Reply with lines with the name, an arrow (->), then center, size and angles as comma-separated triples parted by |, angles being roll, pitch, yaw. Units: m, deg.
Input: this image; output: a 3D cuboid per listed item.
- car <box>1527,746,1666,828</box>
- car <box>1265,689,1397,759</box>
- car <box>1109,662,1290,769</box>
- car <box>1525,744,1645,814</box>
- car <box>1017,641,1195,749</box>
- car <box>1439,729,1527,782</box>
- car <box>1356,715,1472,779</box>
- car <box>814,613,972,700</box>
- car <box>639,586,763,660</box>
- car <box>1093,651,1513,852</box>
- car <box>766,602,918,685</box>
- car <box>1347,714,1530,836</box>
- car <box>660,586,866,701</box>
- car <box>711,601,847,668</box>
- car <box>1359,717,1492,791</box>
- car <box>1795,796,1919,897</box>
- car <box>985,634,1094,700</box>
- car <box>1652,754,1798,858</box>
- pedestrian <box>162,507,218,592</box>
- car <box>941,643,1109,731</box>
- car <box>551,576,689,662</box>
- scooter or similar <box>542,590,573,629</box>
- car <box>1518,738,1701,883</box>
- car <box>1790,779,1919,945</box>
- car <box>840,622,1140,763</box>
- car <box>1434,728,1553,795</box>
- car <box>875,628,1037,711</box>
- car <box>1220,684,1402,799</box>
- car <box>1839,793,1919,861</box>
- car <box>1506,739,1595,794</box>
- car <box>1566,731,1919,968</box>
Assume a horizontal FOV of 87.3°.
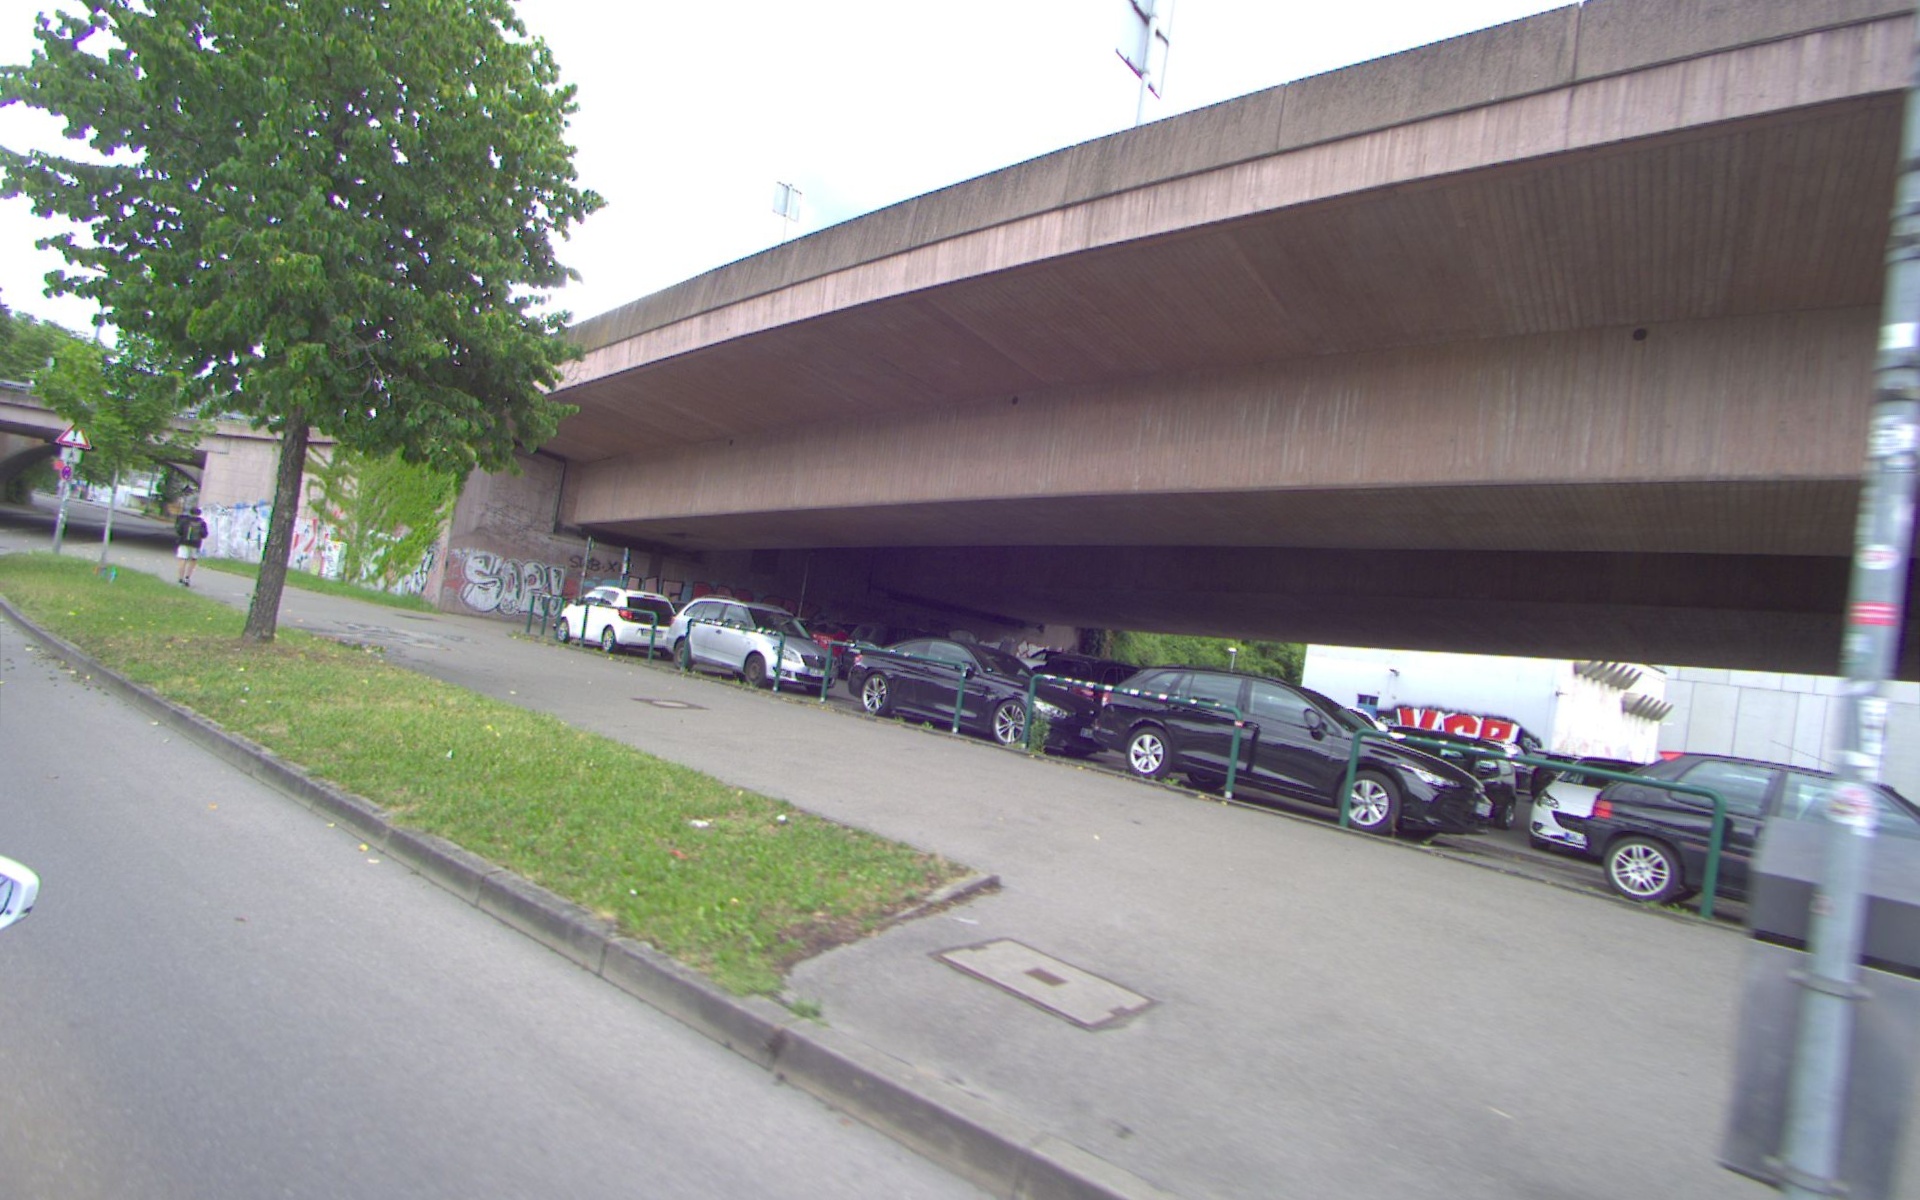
car -> 15.175, 4.465, 23.906 | 3.843, 1.442, 1.815 | 12, -3, -44
car -> 12.626, 4.227, 34.046 | 5.082, 1.695, 2.065 | 12, -3, -44
car -> 4.722, 2.281, 19.476 | 1.733, 1.572, 3.851 | 8, -3, 40
car -> 17.810, 5.112, 28.591 | 4.172, 1.481, 1.815 | 12, -3, -44
car -> 3.114, 2.020, 20.925 | 1.733, 1.712, 3.851 | 8, -3, 40
car -> 21.358, 6.366, 41.043 | 4.172, 1.610, 1.815 | 12, -3, -44
car -> 14.444, 4.688, 31.906 | 4.172, 1.481, 1.815 | 12, -3, -44
car -> -1.670, 1.497, 26.110 | 1.733, 1.656, 3.851 | 8, -3, 40
car -> -7.373, 0.621, 28.391 | 1.738, 1.515, 3.957 | 11, -3, -39
car -> 3.741, 1.640, 11.534 | 4.194, 1.434, 1.505 | 6, -6, 45
car -> -3.162, 1.227, 27.567 | 1.733, 1.656, 3.851 | 8, -3, 40
car -> 7.870, 2.831, 16.361 | 1.674, 1.459, 3.851 | 8, -3, 40
car -> -3.825, 0.782, 19.166 | 4.014, 1.552, 1.611 | 7, -3, 42
car -> -5.647, 1.119, 31.722 | 1.733, 1.494, 3.851 | 8, -3, 40
car -> 12.419, 4.124, 26.754 | 3.843, 1.442, 1.815 | 12, -3, -44
car -> 18.504, 4.932, 20.217 | 4.352, 1.485, 1.819 | 12, -4, -39
car -> 2.943, 2.480, 36.860 | 3.645, 1.808, 1.860 | 12, -3, -44
car -> 16.731, 4.481, 21.939 | 3.843, 1.717, 1.815 | 12, -3, -44
pedestrian -> -18.812, -1.238, 24.578 | 0.814, 1.929, 0.734 | 7, -2, 44
car -> 1.562, 2.031, 22.966 | 1.733, 1.450, 3.851 | 8, -3, 40
car -> -7.835, 0.404, 23.070 | 1.572, 1.455, 3.335 | 12, -4, -43
scooter or similar -> -12.374, 0.320, 30.969 | 0.265, 1.142, 1.680 | 9, -2, -5
car -> 9.599, 3.012, 14.740 | 1.674, 1.526, 3.851 | 8, -3, 40
car -> 11.635, 3.217, 12.556 | 1.617, 1.569, 3.996 | 8, -3, 43
car -> 0.314, 1.313, 15.023 | 1.764, 1.336, 4.319 | 12, -4, -44
car -> 15.992, 4.846, 30.090 | 4.172, 1.481, 1.815 | 12, -3, -44
car -> -0.031, 1.733, 24.498 | 1.733, 1.454, 3.851 | 8, -3, 40
car -> 6.336, 2.552, 17.915 | 1.674, 1.572, 3.851 | 8, -3, 40
car -> 29.416, 7.172, 31.914 | 4.172, 1.610, 1.815 | 12, -3, -44
car -> 23.053, 6.512, 39.227 | 4.172, 1.610, 1.815 | 12, -3, -44
car -> 7.261, 2.111, 8.150 | 1.504, 1.342, 3.654 | 15, -6, -43
